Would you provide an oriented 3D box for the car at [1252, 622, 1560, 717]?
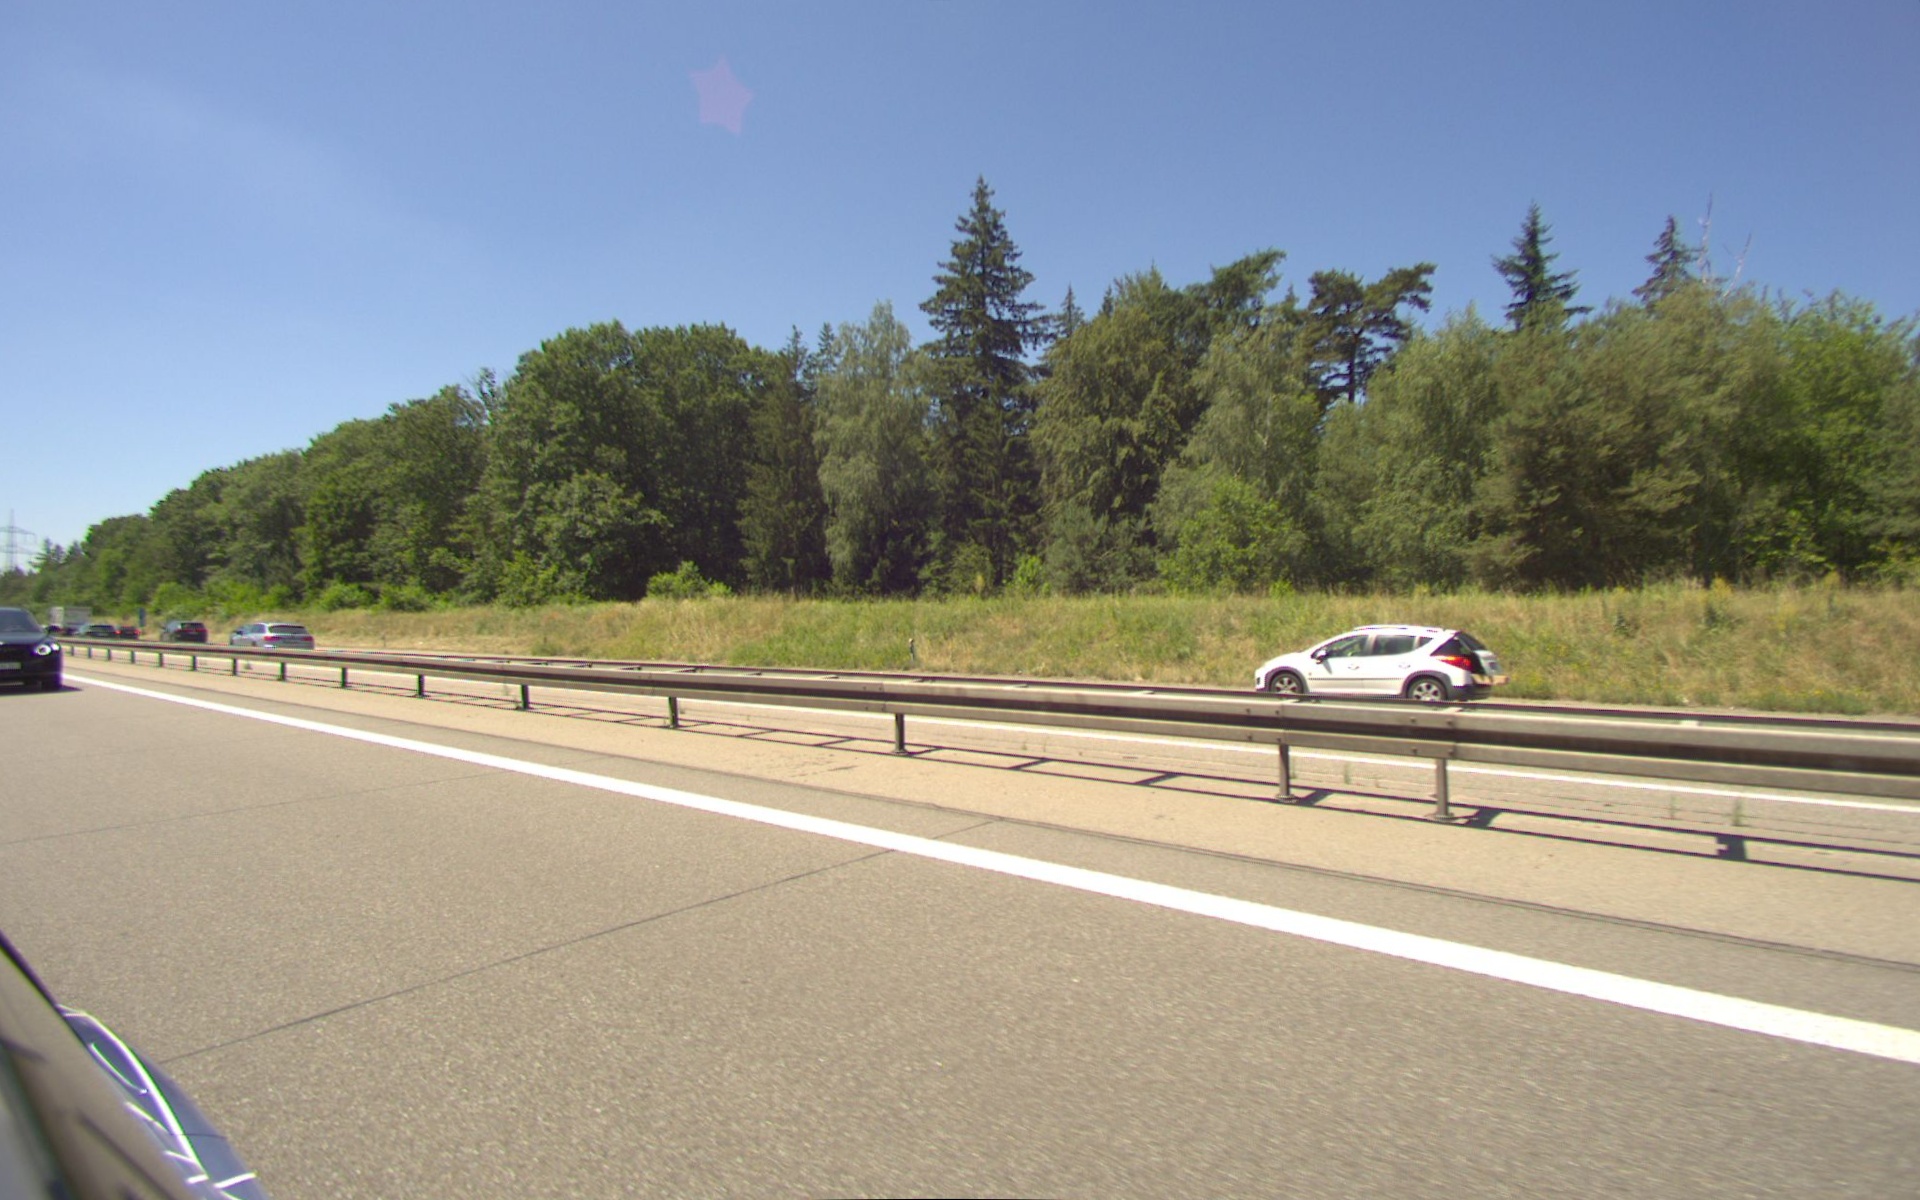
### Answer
[{"bbox_3d":[8.088,1.220,18.672,4.900,1.528,1.776,-2,-4,40],"label":"car"}]

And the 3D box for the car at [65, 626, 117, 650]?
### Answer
[{"bbox_3d":[-54.390,2.372,63.329,4.570,1.440,1.681,-2,-4,40],"label":"car"}]

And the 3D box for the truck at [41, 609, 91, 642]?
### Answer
[{"bbox_3d":[-103.215,2.995,116.810,10.434,3.545,2.704,-2,-4,41],"label":"truck"}]

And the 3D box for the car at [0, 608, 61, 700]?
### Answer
[{"bbox_3d":[-20.887,1.133,21.463,5.809,1.765,1.921,-2,-1,40],"label":"car"}]

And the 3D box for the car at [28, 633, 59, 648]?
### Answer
[{"bbox_3d":[-93.344,4.113,103.072,4.349,1.418,1.743,-2,-4,40],"label":"car"}]

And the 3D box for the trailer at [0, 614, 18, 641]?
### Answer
[{"bbox_3d":[-150.037,4.333,158.164,14.360,4.045,2.479,-2,-4,41],"label":"trailer"}]

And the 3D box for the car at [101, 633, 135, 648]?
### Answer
[{"bbox_3d":[-80.545,3.866,96.767,5.173,1.422,1.637,-2,-4,41],"label":"car"}]

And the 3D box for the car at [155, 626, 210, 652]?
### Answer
[{"bbox_3d":[-50.325,2.532,65.478,4.982,1.631,1.776,-2,-4,40],"label":"car"}]

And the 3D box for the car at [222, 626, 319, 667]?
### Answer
[{"bbox_3d":[-26.479,1.784,38.818,4.983,1.485,1.776,-2,-4,41],"label":"car"}]

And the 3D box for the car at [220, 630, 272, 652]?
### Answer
[{"bbox_3d":[-47.462,2.720,67.276,4.594,1.420,1.654,-2,-4,40],"label":"car"}]
